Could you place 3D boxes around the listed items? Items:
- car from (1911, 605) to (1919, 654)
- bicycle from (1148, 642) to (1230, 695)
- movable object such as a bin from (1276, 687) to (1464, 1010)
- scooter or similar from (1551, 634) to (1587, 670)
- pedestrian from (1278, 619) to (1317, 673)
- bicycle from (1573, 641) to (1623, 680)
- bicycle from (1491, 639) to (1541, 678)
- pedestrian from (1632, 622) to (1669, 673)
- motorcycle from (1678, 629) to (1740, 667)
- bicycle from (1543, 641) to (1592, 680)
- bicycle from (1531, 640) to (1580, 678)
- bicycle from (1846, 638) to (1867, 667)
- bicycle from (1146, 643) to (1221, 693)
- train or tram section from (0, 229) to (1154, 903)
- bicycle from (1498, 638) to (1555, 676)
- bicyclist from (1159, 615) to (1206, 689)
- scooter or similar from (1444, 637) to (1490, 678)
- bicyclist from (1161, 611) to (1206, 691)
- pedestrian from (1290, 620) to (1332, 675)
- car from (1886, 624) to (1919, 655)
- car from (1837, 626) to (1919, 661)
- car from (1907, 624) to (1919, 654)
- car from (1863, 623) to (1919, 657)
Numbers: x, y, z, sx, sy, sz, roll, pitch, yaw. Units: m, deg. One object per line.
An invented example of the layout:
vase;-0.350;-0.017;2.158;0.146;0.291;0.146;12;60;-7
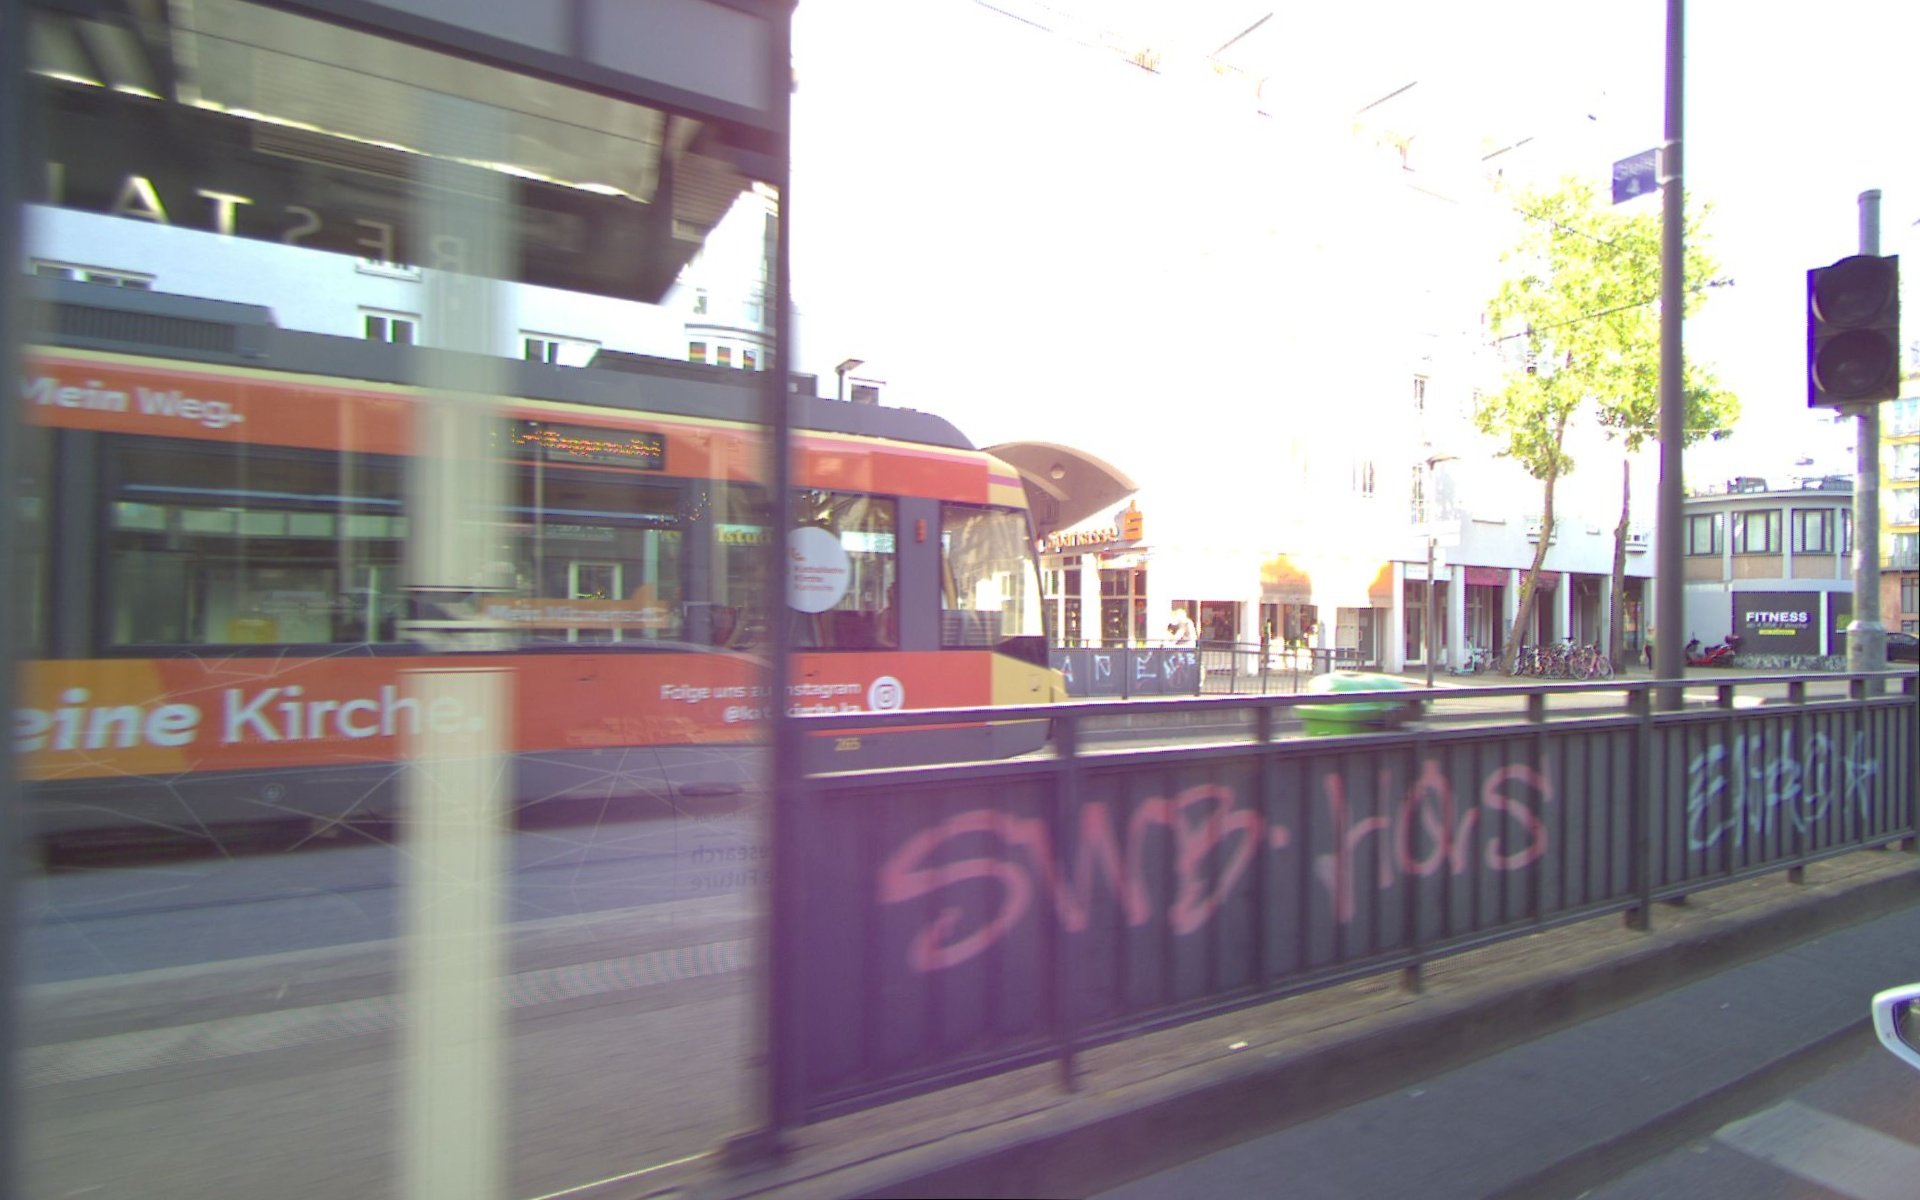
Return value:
car;52.710;1.559;51.685;2.103;2.610;5.083;1;-1;-29
bicycle;5.090;1.502;22.325;1.779;1.122;0.726;1;-1;-30
movable object such as a bin;1.379;0.789;3.381;0.524;0.957;0.350;1;-1;-32
scooter or similar;20.490;1.737;33.799;1.257;1.209;0.496;1;-1;-30
pedestrian;11.025;1.489;32.825;0.786;1.683;0.853;1;1;-33
bicycle;19.697;1.868;31.002;1.779;1.122;0.496;0;2;-31
bicycle;17.087;1.795;30.865;1.247;1.122;0.500;1;2;-4
pedestrian;23.917;1.625;34.800;1.000;1.683;0.918;3;1;35
motorcycle;29.113;1.858;39.062;0.600;1.315;1.781;1;2;-36
bicycle;18.732;1.840;30.960;1.779;1.122;0.496;0;2;-31
bicycle;18.615;1.827;31.388;1.779;1.122;0.496;0;2;-31
bicycle;35.801;2.089;40.105;1.787;1.122;0.494;1;-1;-43
bicycle;5.339;1.599;23.959;1.779;1.122;0.652;1;-1;-31
train or tram section;-5.241;-0.165;6.834;14.780;3.536;2.870;2;0;-31
bicycle;17.918;1.794;31.772;1.772;1.122;0.498;1;2;-19
bicyclist;4.916;1.134;22.231;0.711;1.589;0.726;1;-1;-30
scooter or similar;15.615;1.757;30.950;1.252;1.209;0.498;0;2;-19
bicyclist;5.330;1.197;23.962;0.835;1.860;0.652;1;-1;-30
pedestrian;11.092;1.491;31.773;0.870;1.683;0.853;1;1;-33
car;48.289;1.974;49.233;1.778;1.530;3.969;1;-1;-29
car;43.767;2.005;46.619;1.778;1.530;4.300;1;-1;-29
car;50.493;2.019;50.417;1.778;1.530;3.969;1;-1;-29
car;46.057;1.927;47.998;1.778;1.530;3.969;1;-1;-29
